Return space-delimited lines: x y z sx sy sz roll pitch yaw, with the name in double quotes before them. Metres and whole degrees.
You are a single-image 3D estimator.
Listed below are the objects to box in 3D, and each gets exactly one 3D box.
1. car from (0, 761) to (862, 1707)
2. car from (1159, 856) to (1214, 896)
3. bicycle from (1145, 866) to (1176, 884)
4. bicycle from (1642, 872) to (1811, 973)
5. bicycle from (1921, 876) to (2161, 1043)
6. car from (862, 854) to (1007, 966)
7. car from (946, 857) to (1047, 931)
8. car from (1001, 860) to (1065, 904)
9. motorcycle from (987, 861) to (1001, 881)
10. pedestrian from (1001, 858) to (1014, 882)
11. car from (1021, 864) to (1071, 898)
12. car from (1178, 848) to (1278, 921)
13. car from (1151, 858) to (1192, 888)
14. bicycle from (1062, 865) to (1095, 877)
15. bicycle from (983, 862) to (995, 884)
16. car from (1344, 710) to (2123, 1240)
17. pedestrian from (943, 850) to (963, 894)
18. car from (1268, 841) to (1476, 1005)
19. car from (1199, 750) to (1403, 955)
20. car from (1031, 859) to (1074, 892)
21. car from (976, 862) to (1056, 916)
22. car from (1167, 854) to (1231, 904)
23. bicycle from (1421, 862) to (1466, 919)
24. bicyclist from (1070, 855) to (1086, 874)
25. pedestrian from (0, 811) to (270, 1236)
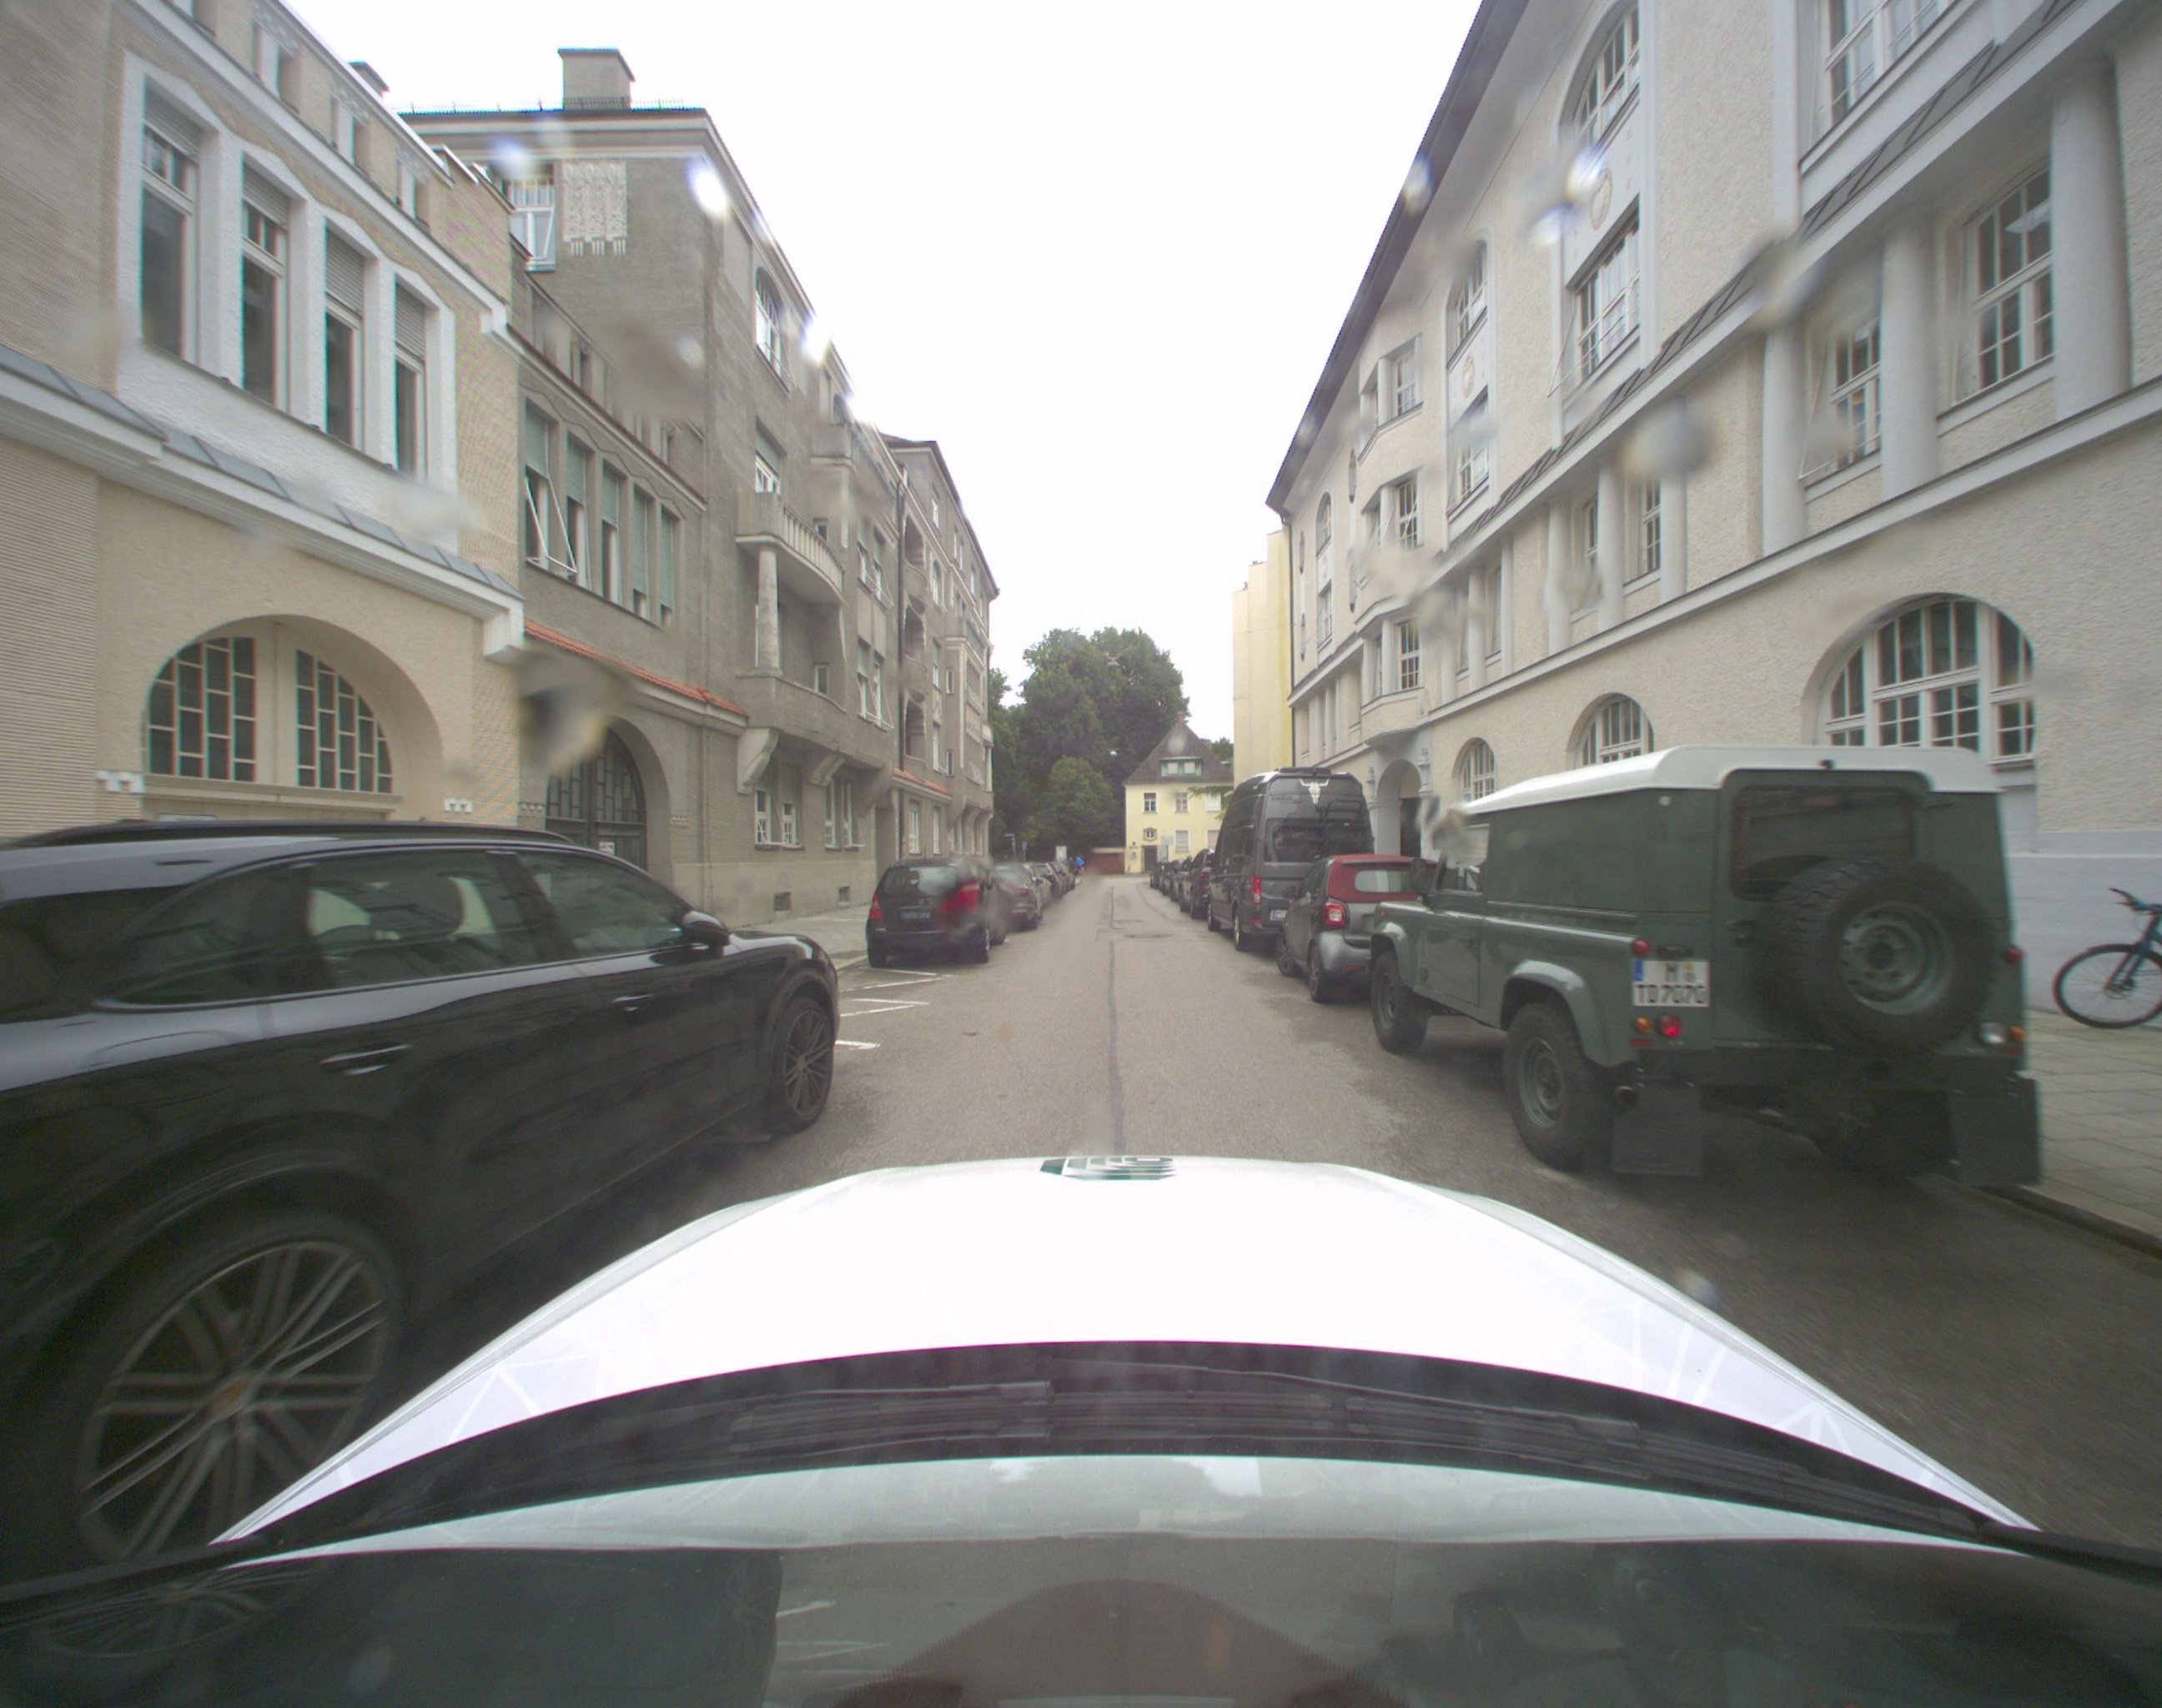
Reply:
"car" -2.649 0.705 3.127 1.941 1.659 4.624 -1 -1 6
"car" 4.216 0.858 33.117 1.629 1.537 3.852 0 -1 -2
"bicycle" 4.955 1.302 50.730 1.774 1.085 0.670 -2 1 29
"bicycle" 7.828 0.788 9.997 0.649 1.069 1.789 -3 -1 2
"bicycle" 7.794 0.745 6.288 0.643 1.117 1.969 0 -1 3
"car" -2.231 0.808 13.383 1.798 1.572 3.811 0 -1 -2
"car" -1.835 0.832 18.974 1.831 1.513 4.608 0 0 0
"car" -1.662 0.962 29.870 1.987 1.448 4.779 -1 -1 1
"motorcycle" -6.063 1.178 57.058 0.733 1.441 2.147 0 -1 1
"pedestrian" -5.430 1.199 60.240 0.835 1.787 0.937 0 -1 5
"car" -1.461 1.129 35.438 1.748 1.331 4.099 -1 0 3
"car" 3.735 0.719 21.512 1.985 1.689 4.677 1 0 3
"car" 4.755 0.985 43.473 1.687 1.471 4.610 0 -1 0
"bicycle" -0.215 1.429 69.285 2.592 0.988 0.991 0 -1 16
"bicycle" -5.724 1.166 50.866 0.617 1.349 1.674 0 -1 -2
"car" 3.167 0.481 5.187 1.788 2.039 4.073 0 -1 2
"pedestrian" -5.337 0.734 33.984 0.714 1.817 0.731 0 -1 1
"car" 3.212 0.697 9.497 1.536 1.626 2.817 0 -1 3
"car" 3.657 0.046 14.935 2.246 2.960 6.134 1 -1 2
"car" -1.364 1.032 41.051 1.748 1.515 4.711 -1 0 3
"car" -1.881 0.990 24.941 1.798 1.431 4.443 -2 0 3
"car" 3.942 0.812 27.752 1.629 1.592 3.967 0 -1 0
"bicycle" 7.765 0.756 17.500 0.478 1.150 1.793 0 -1 11
"bicyclist" -0.247 0.889 69.298 1.115 1.651 0.991 0 -1 16
"pedestrian" -4.608 0.716 3.819 0.832 1.789 0.741 0 -1 2
